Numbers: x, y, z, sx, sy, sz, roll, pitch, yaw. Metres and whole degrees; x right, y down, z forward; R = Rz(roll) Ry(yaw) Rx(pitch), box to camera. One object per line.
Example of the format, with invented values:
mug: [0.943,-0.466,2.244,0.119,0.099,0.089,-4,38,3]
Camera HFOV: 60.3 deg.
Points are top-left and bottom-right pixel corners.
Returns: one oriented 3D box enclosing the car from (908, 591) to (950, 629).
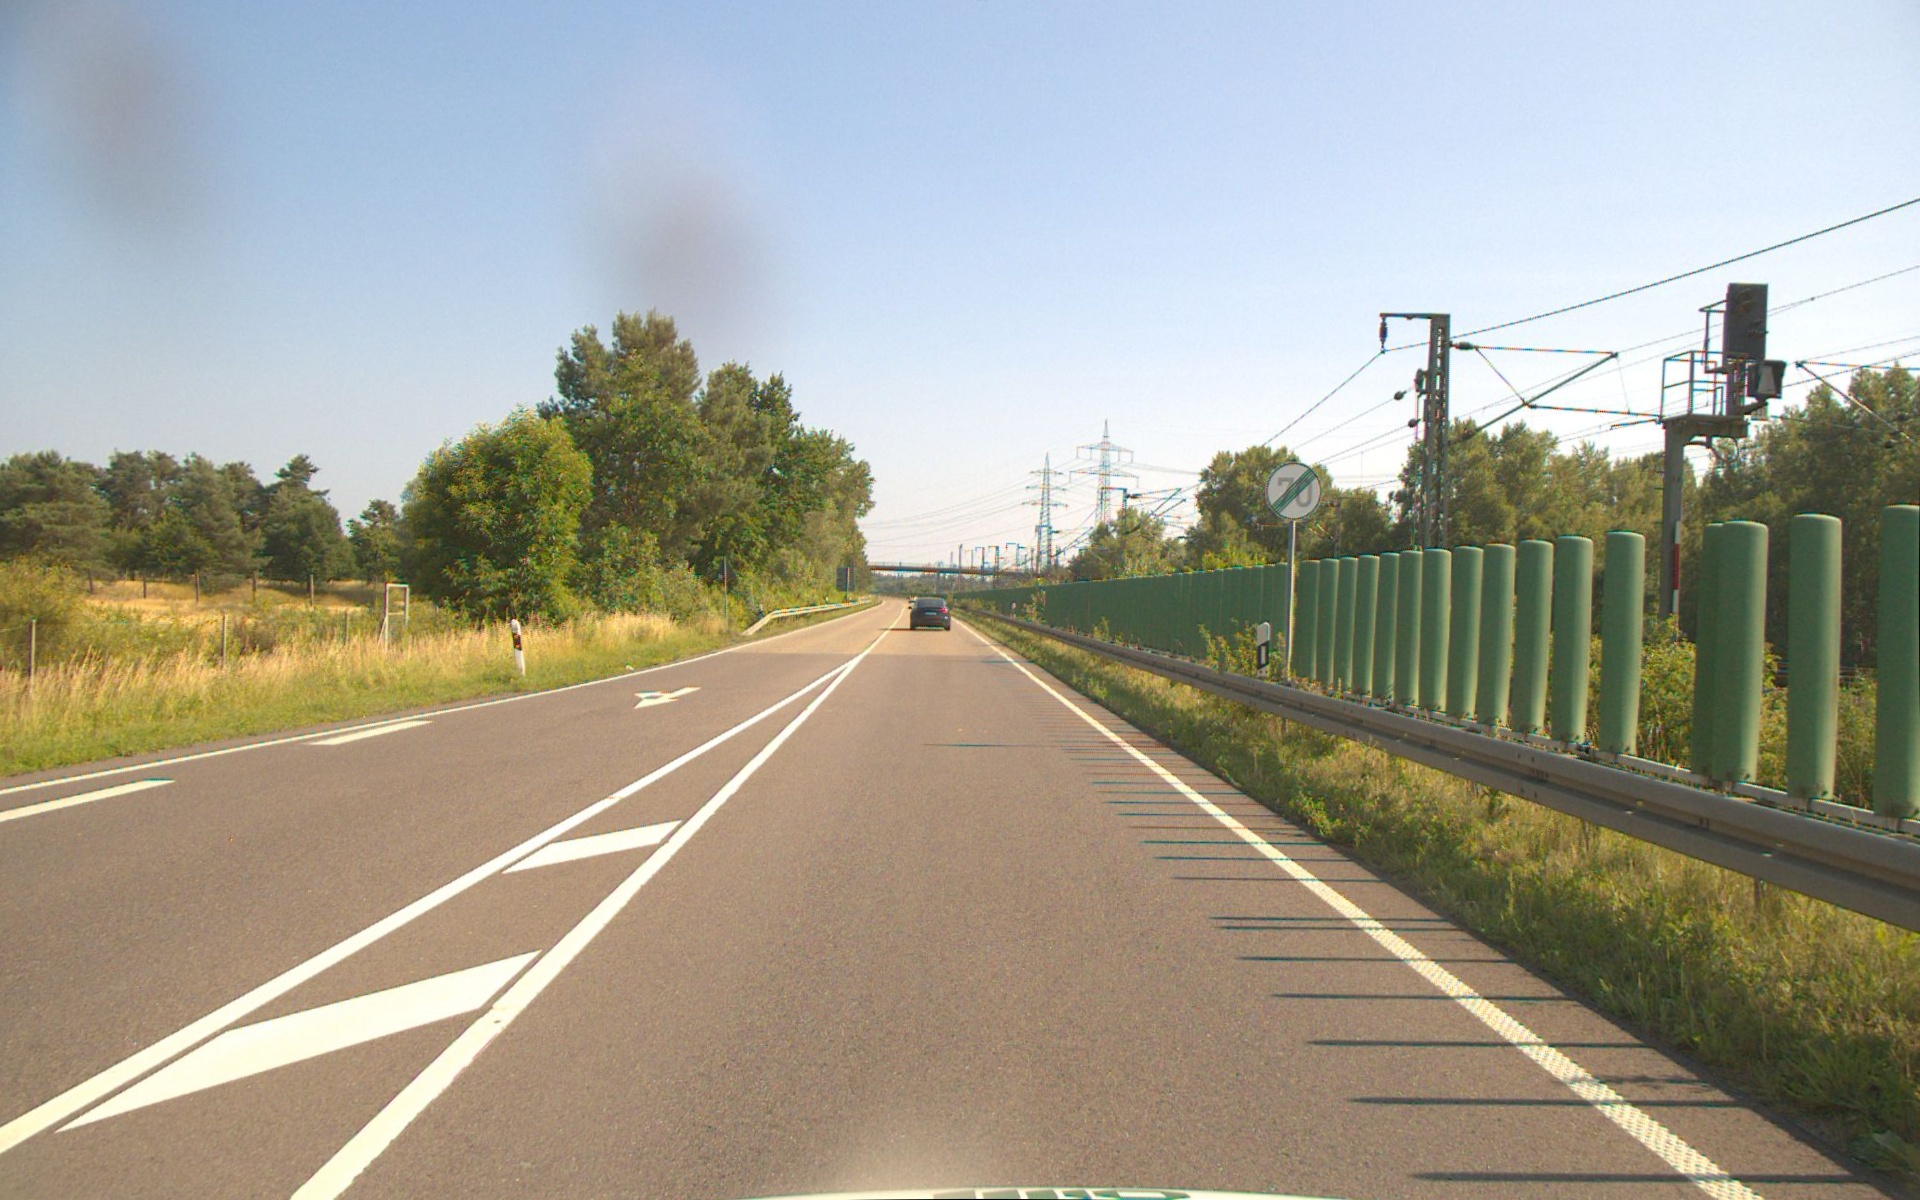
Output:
car: [-1.411,0.438,74.087,1.821,1.670,3.998,0,0,-2]
